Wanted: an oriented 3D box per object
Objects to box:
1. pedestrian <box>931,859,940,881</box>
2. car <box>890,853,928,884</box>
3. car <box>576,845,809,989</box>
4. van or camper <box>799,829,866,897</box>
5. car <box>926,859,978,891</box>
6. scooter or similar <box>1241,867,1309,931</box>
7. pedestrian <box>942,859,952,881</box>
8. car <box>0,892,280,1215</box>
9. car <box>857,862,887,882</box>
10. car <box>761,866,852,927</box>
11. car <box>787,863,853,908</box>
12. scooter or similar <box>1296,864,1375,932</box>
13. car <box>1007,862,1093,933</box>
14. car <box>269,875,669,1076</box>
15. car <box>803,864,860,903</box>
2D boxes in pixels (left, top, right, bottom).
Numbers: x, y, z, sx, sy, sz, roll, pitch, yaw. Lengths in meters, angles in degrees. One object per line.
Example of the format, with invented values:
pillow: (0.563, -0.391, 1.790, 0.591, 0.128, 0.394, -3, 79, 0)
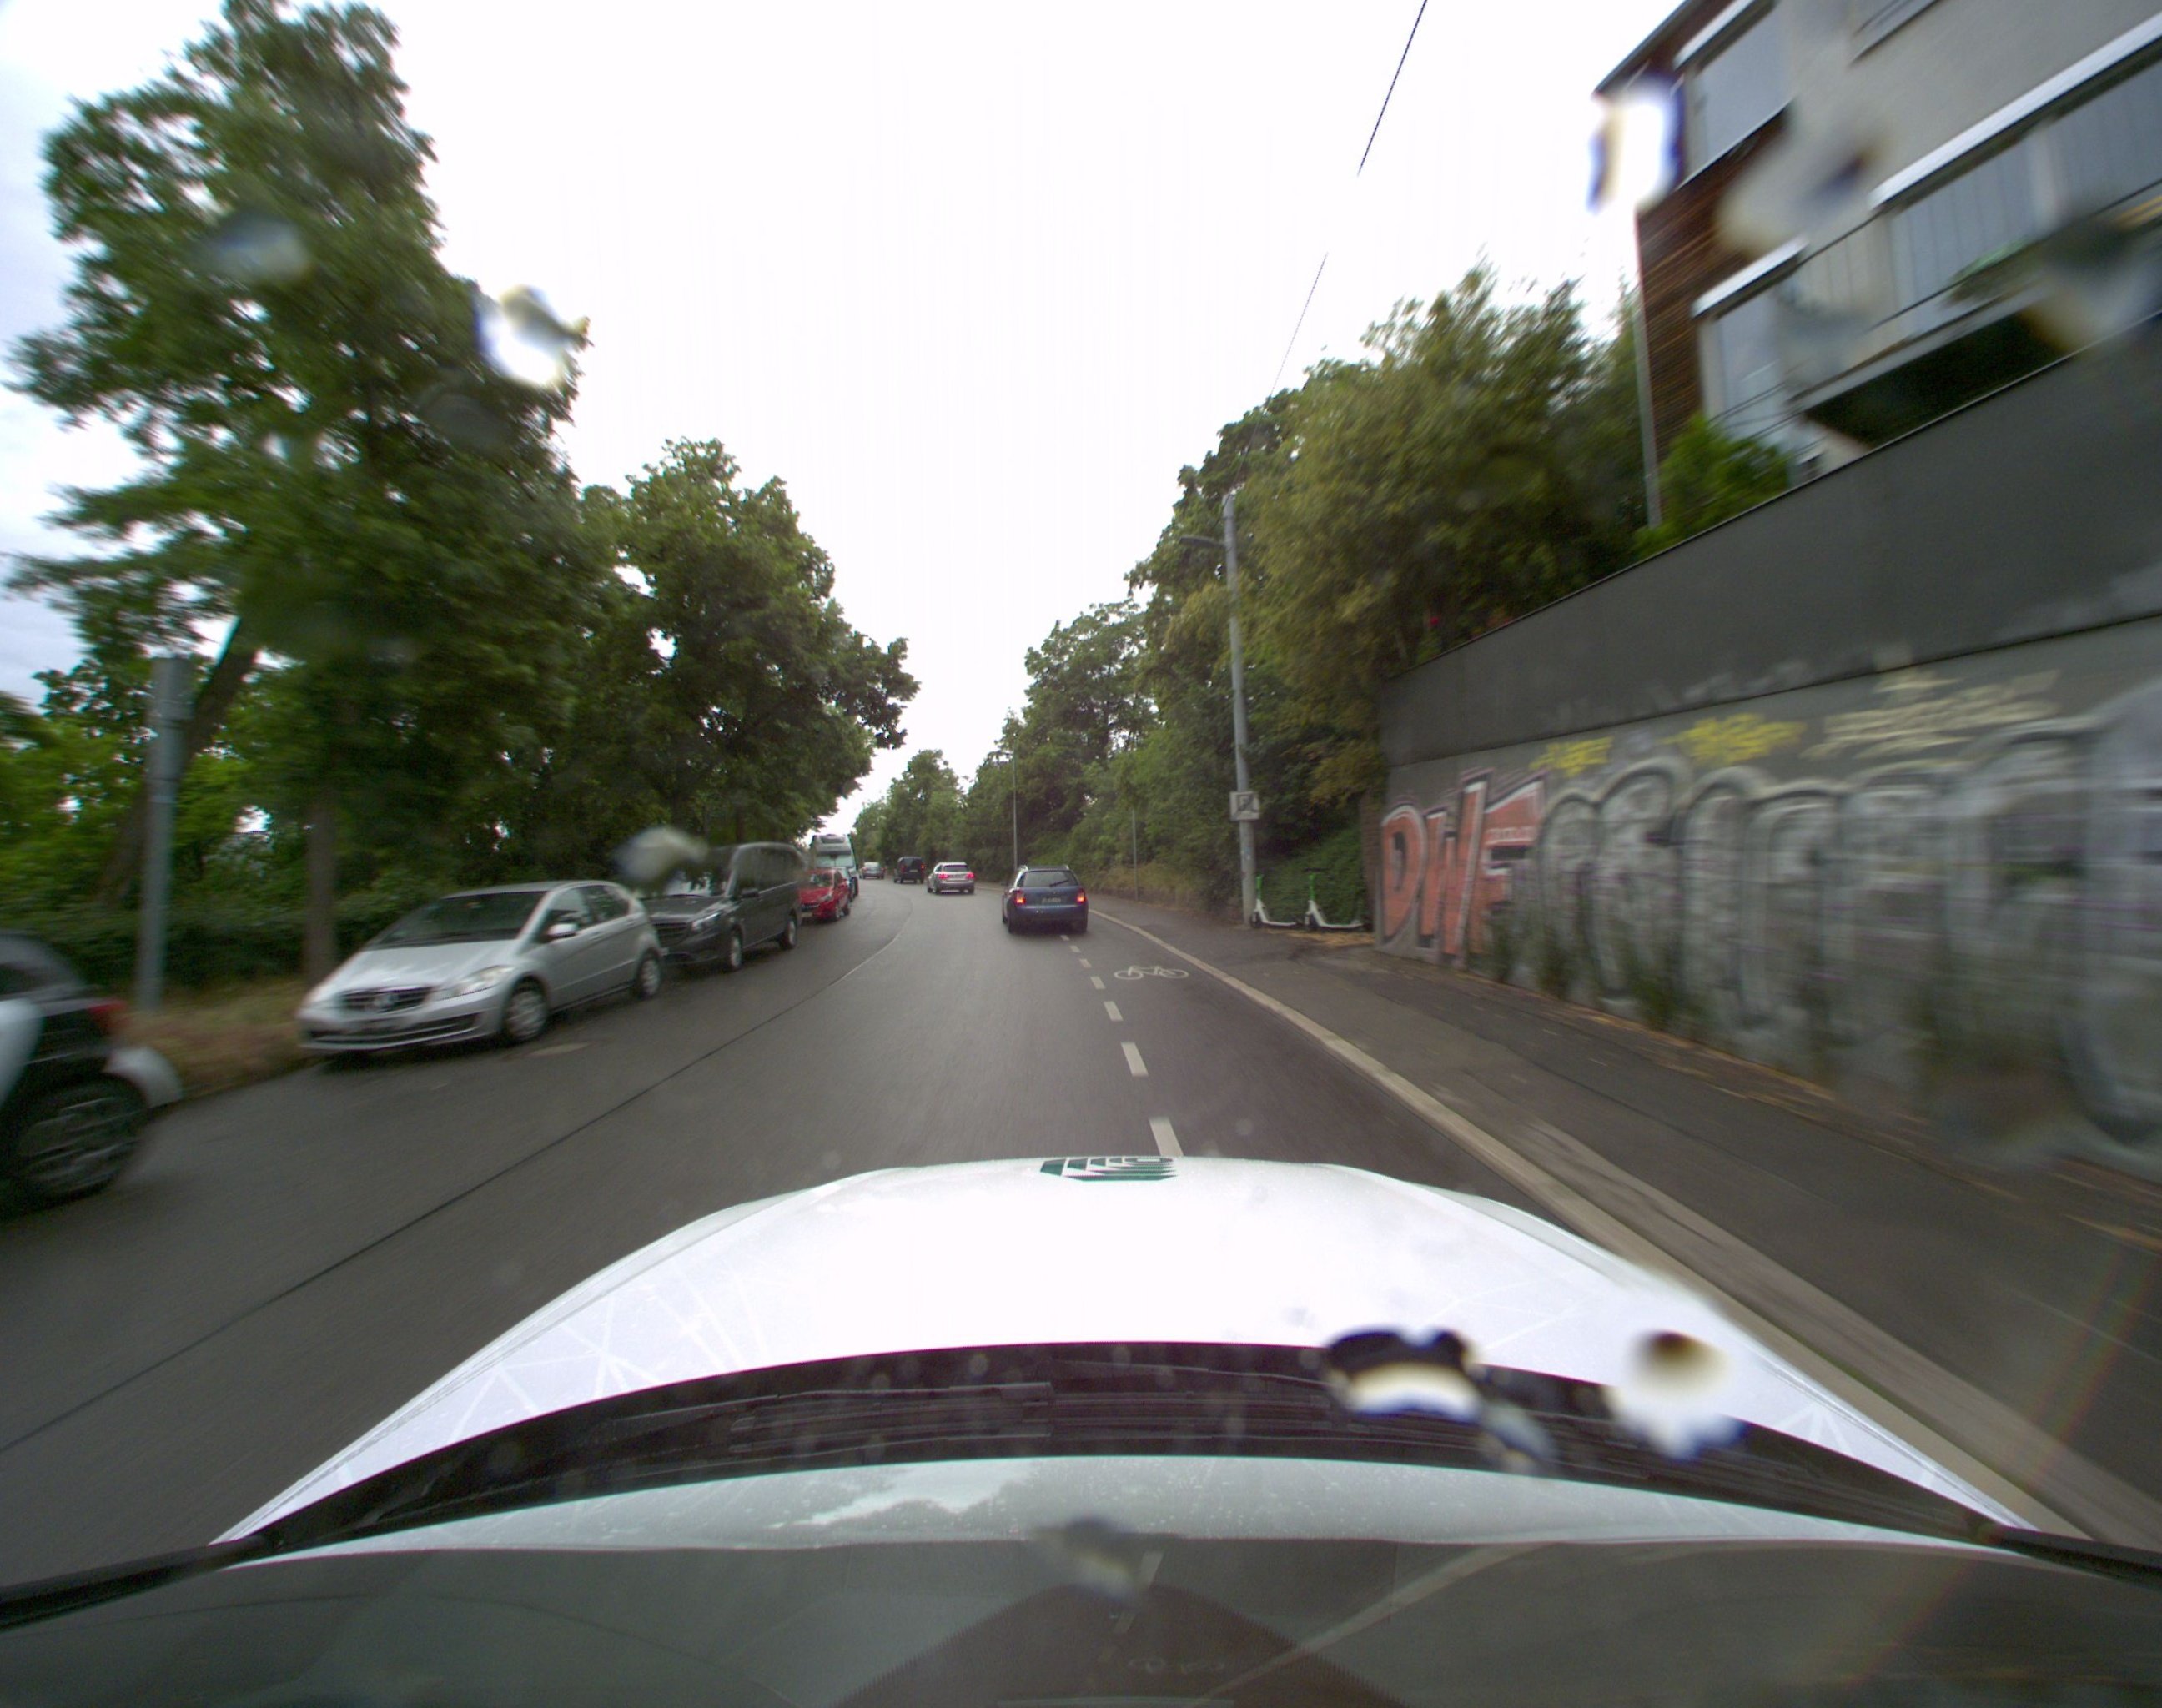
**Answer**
pedestrian: (-10.477, 1.159, 58.726, 0.553, 1.566, 0.484, -2, 0, -18)
car: (-12.047, 1.058, 56.969, 1.796, 1.953, 3.970, -4, -1, -22)
car: (-6.595, 0.899, 14.612, 1.951, 1.967, 4.994, -5, 1, -5)
van or camper: (-12.704, 0.473, 41.296, 2.516, 3.026, 6.513, -4, 1, -22)
car: (-6.138, 0.932, 38.305, 1.895, 1.389, 3.977, -1, 0, -17)
scooter or similar: (3.659, 0.828, 15.436, 0.348, 1.117, 1.410, -6, 1, -26)
pedestrian: (-9.690, 1.136, 58.917, 0.597, 1.566, 0.665, -1, 0, -18)
car: (-6.110, 1.052, 3.174, 1.678, 1.509, 4.205, -5, -1, 0)
car: (-17.954, 1.509, 69.923, 1.831, 1.617, 3.754, -2, 0, -25)
car: (-8.197, 1.208, 24.762, 1.955, 1.461, 4.557, -4, 1, -11)
car: (-9.649, 1.129, 30.374, 1.956, 1.408, 3.528, -4, 1, -13)
scooter or similar: (4.390, 0.740, 14.149, 0.348, 1.117, 1.408, 0, -2, -31)
car: (-0.782, 0.921, 18.883, 1.744, 1.407, 3.994, -1, 0, -4)
car: (-6.255, 1.094, 8.962, 1.681, 1.552, 3.759, -5, -1, -5)
car: (-10.776, 1.248, 35.475, 1.956, 1.408, 4.189, -4, 1, -13)
